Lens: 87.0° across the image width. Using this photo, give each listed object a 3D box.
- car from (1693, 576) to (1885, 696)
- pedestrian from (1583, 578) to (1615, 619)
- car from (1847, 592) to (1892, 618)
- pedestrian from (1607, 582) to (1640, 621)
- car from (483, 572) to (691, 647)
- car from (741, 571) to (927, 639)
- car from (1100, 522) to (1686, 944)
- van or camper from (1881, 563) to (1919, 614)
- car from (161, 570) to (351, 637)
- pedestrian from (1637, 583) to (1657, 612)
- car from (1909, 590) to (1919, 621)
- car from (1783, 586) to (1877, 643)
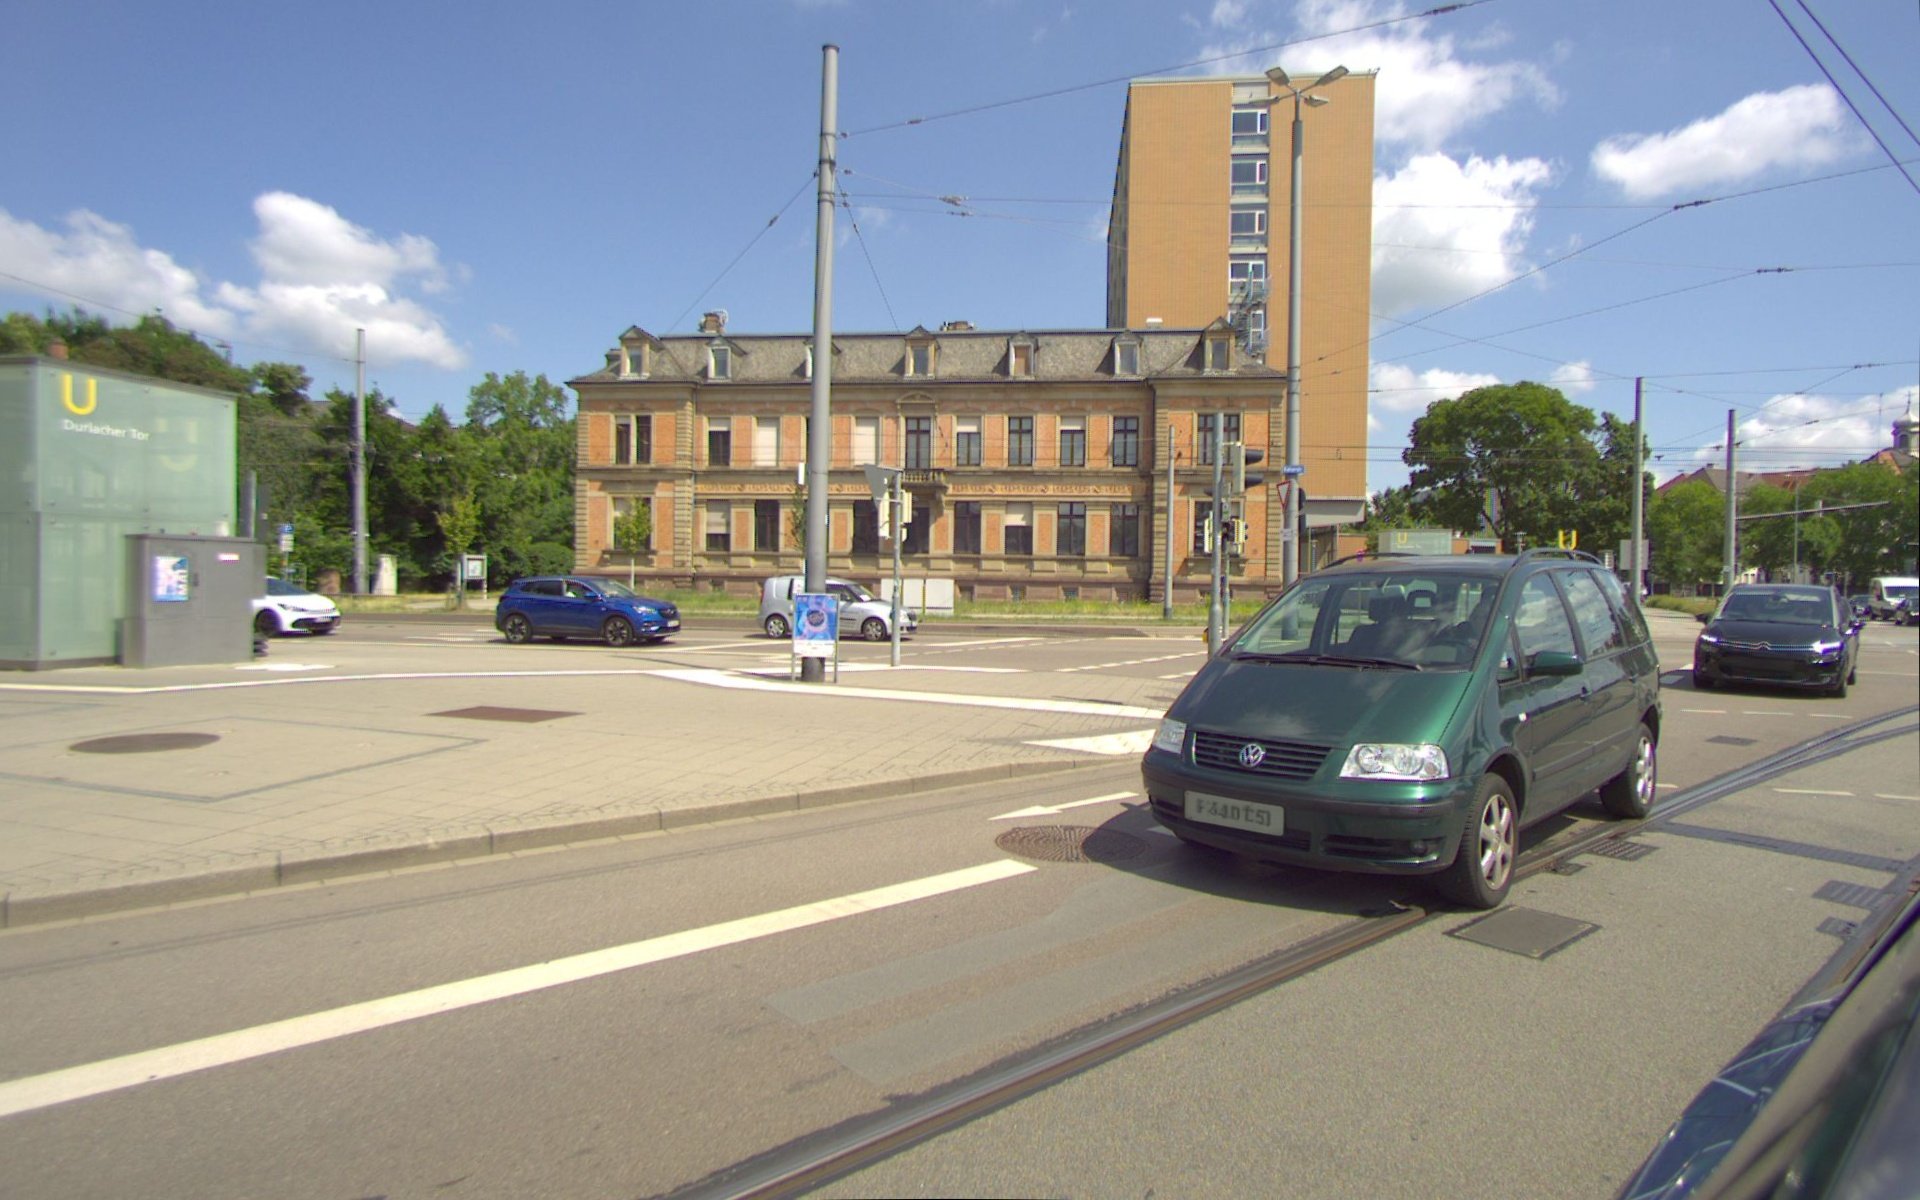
[{"bbox_3d":[13.220,0.459,16.038,4.354,1.636,1.870,-1,1,-44],"label":"car"},{"bbox_3d":[29.244,-0.077,46.344,1.011,1.835,0.726,1,1,11],"label":"pedestrian"},{"bbox_3d":[59.008,0.291,65.715,1.772,1.594,3.909,2,1,37],"label":"car"},{"bbox_3d":[29.710,0.061,45.348,1.011,1.741,0.726,1,1,11],"label":"pedestrian"},{"bbox_3d":[-8.786,0.170,23.950,4.361,1.569,1.867,1,3,14],"label":"car"},{"bbox_3d":[-3.186,0.088,25.855,4.359,1.607,1.867,1,1,13],"label":"car"},{"bbox_3d":[2.853,0.520,6.209,4.016,1.739,1.817,-1,1,-42],"label":"car"},{"bbox_3d":[54.833,-0.658,58.255,2.222,2.769,5.445,2,1,38],"label":"van or camper"},{"bbox_3d":[-17.916,0.050,25.799,3.938,1.585,1.931,1,1,15],"label":"car"},{"bbox_3d":[38.941,-0.126,57.390,0.827,1.606,0.756,2,1,40],"label":"pedestrian"},{"bbox_3d":[48.933,0.282,50.490,1.892,1.482,4.202,2,2,38],"label":"car"},{"bbox_3d":[25.479,0.368,29.594,1.868,1.504,4.357,2,2,44],"label":"car"}]
